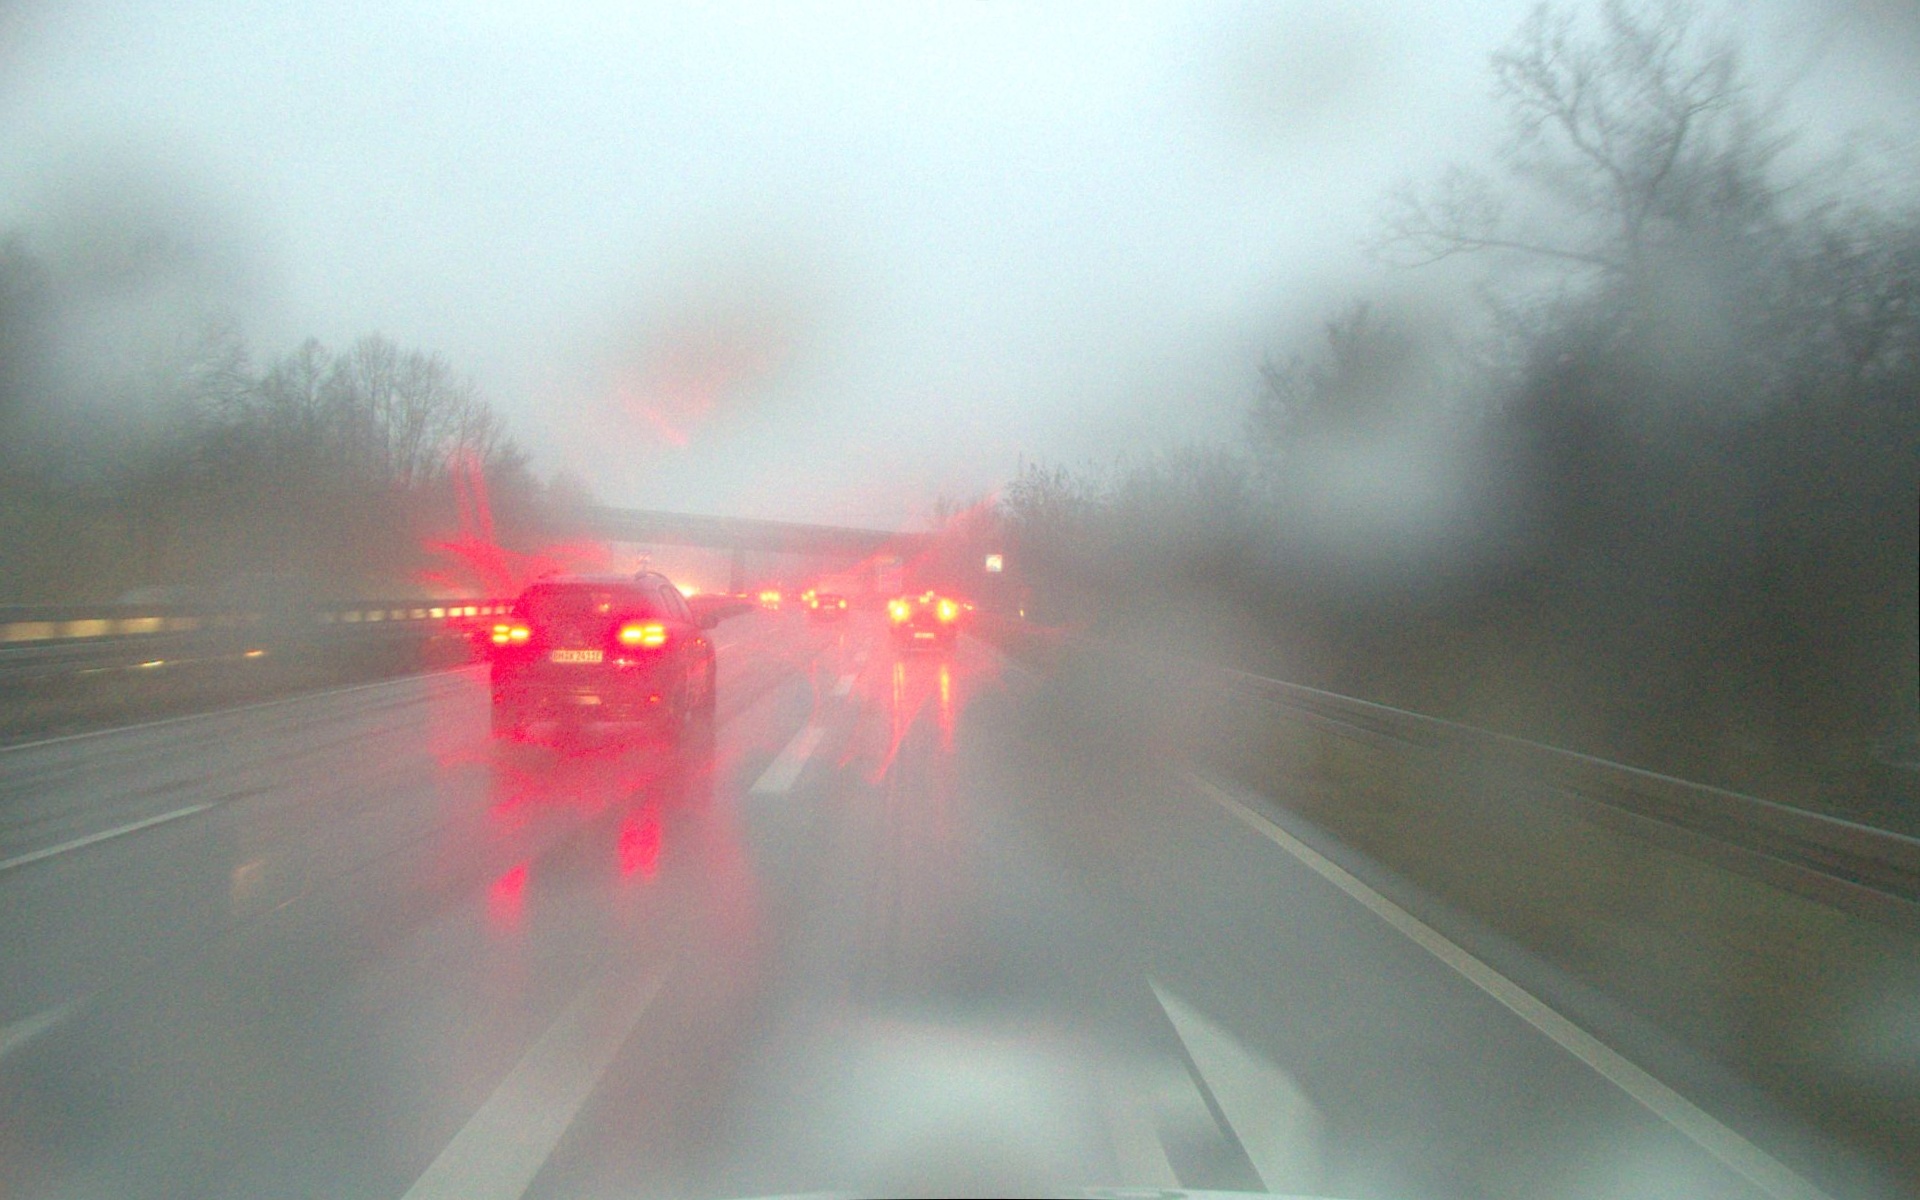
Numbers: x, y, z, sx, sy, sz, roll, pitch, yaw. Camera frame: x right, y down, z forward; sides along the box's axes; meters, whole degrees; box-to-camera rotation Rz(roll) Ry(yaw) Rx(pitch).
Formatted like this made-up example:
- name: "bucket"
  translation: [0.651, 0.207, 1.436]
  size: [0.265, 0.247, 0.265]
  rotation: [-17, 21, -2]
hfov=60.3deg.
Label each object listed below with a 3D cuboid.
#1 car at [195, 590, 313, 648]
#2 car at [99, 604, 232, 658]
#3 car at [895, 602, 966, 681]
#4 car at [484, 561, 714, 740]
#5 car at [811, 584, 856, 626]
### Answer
- name: "car"
  translation: [-18.463, 0.523, 43.426]
  size: [1.542, 1.400, 3.840]
  rotation: [2, -2, -3]
- name: "car"
  translation: [-22.205, 0.888, 46.437]
  size: [1.542, 1.400, 4.780]
  rotation: [2, -2, -3]
- name: "car"
  translation: [-0.732, 1.016, 42.469]
  size: [1.697, 1.452, 3.769]
  rotation: [2, 7, -1]
- name: "car"
  translation: [-3.733, 0.472, 17.780]
  size: [1.955, 1.694, 3.995]
  rotation: [0, 0, -6]
- name: "car"
  translation: [-5.549, 0.207, 72.750]
  size: [1.841, 1.645, 3.872]
  rotation: [2, 2, -4]
